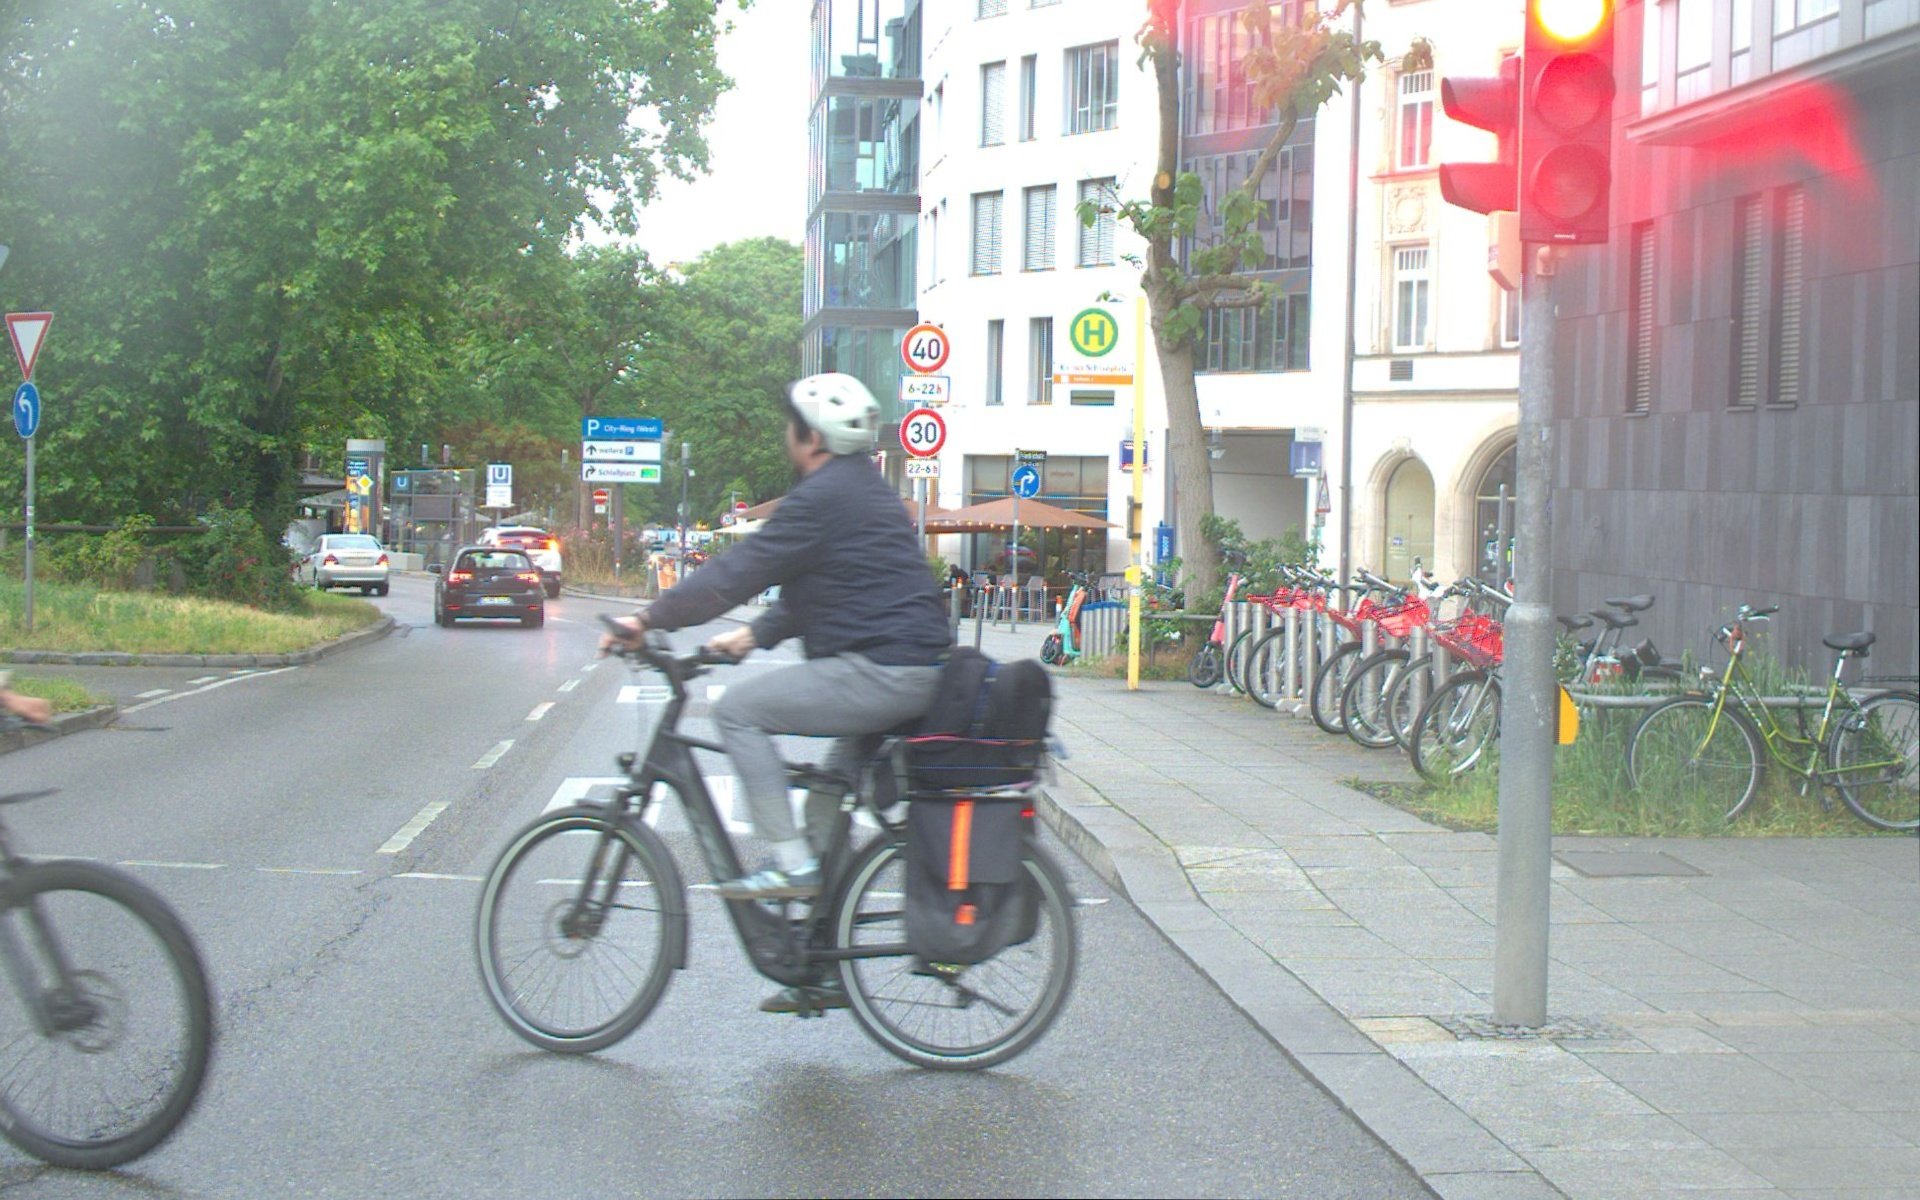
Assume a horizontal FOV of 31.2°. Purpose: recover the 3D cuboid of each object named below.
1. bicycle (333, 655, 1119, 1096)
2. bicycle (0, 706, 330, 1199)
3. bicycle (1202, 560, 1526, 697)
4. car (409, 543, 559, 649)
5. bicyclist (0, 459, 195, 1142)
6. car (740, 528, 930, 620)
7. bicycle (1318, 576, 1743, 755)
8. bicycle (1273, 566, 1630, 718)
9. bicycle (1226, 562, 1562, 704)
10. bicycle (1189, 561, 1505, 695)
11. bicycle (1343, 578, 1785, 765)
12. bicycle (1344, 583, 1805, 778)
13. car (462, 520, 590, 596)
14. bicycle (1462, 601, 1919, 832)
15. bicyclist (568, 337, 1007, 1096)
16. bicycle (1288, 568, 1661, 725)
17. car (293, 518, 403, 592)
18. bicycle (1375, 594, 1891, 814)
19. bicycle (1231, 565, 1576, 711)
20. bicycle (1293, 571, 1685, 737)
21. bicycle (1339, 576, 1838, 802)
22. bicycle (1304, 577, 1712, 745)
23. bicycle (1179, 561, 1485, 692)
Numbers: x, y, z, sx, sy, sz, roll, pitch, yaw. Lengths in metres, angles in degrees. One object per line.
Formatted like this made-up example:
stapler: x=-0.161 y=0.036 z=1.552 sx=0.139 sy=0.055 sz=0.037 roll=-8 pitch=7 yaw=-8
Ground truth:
bicycle: x=-0.658 y=0.757 z=9.925 sx=2.127 sy=1.141 sz=0.762 roll=1 pitch=1 yaw=12
bicycle: x=-2.673 y=0.813 z=8.260 sx=2.063 sy=1.110 sz=1.010 roll=1 pitch=-1 yaw=26
bicycle: x=3.288 y=0.229 z=28.075 sx=2.535 sy=1.083 sz=0.677 roll=1 pitch=1 yaw=-5
car: x=-8.445 y=-0.098 z=60.678 sx=2.161 sy=1.700 sz=4.555 roll=1 pitch=1 yaw=-13
bicyclist: x=-2.658 y=0.432 z=8.233 sx=1.134 sy=1.577 sz=1.013 roll=4 pitch=1 yaw=26
car: x=-2.803 y=-0.597 z=76.515 sx=3.986 sy=1.641 sz=2.000 roll=5 pitch=1 yaw=-5
bicycle: x=3.578 y=0.407 z=21.646 sx=2.535 sy=1.083 sz=0.677 roll=1 pitch=1 yaw=-5
bicycle: x=3.647 y=0.308 z=25.596 sx=2.535 sy=1.083 sz=0.677 roll=1 pitch=1 yaw=-5
bicycle: x=3.423 y=0.259 z=27.187 sx=2.535 sy=1.083 sz=0.677 roll=1 pitch=1 yaw=-5
bicycle: x=3.232 y=0.227 z=28.823 sx=2.535 sy=1.083 sz=0.677 roll=1 pitch=1 yaw=-5
bicycle: x=3.644 y=0.427 z=20.836 sx=2.535 sy=1.083 sz=0.677 roll=1 pitch=1 yaw=-5
bicycle: x=3.555 y=0.461 z=19.981 sx=2.535 sy=1.083 sz=0.677 roll=1 pitch=1 yaw=-5
car: x=-10.373 y=-1.027 z=81.995 sx=2.178 sy=1.695 sz=4.001 roll=1 pitch=1 yaw=-20
bicycle: x=3.742 y=0.552 z=16.476 sx=2.535 sy=1.053 sz=0.677 roll=1 pitch=1 yaw=-5
bicyclist: x=-0.480 y=0.308 z=9.881 sx=1.082 sy=2.076 sz=0.762 roll=1 pitch=1 yaw=12
bicycle: x=3.670 y=0.327 z=24.618 sx=2.535 sy=1.083 sz=0.677 roll=1 pitch=1 yaw=-5
car: x=-14.518 y=-1.077 z=81.422 sx=1.944 sy=1.641 sz=4.246 roll=1 pitch=1 yaw=-18
bicycle: x=3.497 y=0.534 z=17.953 sx=2.535 sy=1.083 sz=0.677 roll=1 pitch=1 yaw=-5
bicycle: x=3.397 y=0.288 z=26.435 sx=2.535 sy=1.083 sz=0.677 roll=1 pitch=1 yaw=-5
bicycle: x=3.592 y=0.362 z=23.421 sx=2.535 sy=1.083 sz=0.677 roll=1 pitch=1 yaw=-5
bicycle: x=3.411 y=0.478 z=18.756 sx=2.535 sy=1.083 sz=0.677 roll=3 pitch=1 yaw=-5
bicycle: x=3.573 y=0.393 z=22.513 sx=2.535 sy=1.056 sz=0.677 roll=1 pitch=1 yaw=-5
bicycle: x=3.188 y=0.223 z=29.545 sx=2.535 sy=1.083 sz=0.627 roll=1 pitch=1 yaw=-5
